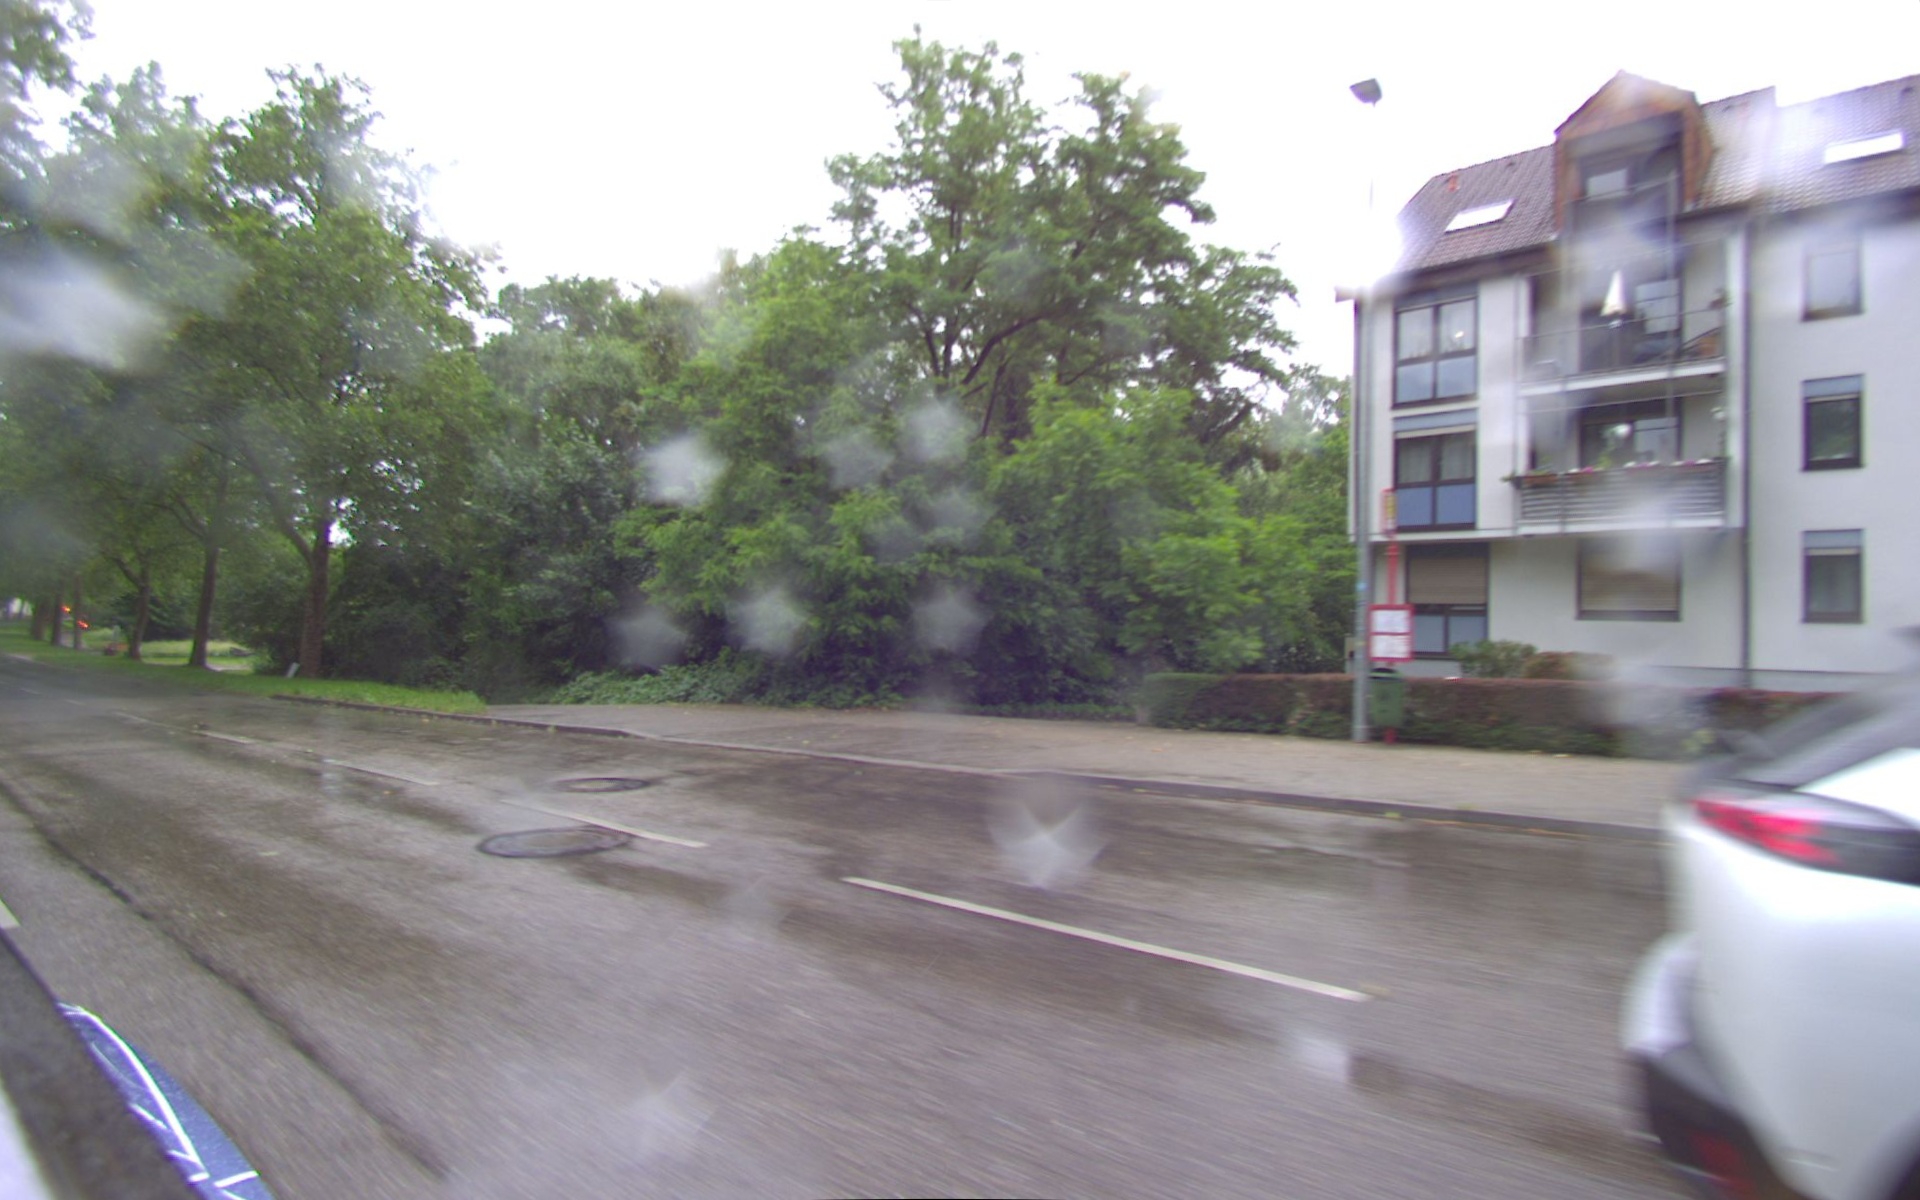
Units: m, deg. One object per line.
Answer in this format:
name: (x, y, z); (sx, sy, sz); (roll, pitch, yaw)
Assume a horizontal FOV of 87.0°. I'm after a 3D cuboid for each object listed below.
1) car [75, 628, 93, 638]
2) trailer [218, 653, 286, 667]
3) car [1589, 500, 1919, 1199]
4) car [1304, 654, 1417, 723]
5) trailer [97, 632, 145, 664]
car: (-165.962, 6.237, 191.806); (1.868, 1.695, 4.011); (3, -3, -32)
trailer: (-59.286, 5.021, 84.746); (2.382, 1.040, 4.269); (0, -3, 43)
car: (3.273, 0.624, 0.923); (4.365, 1.547, 1.734); (-2, -4, 41)
car: (10.402, 2.317, 26.153); (1.723, 1.497, 3.515); (0, -7, 39)
trailer: (-77.029, 4.392, 92.907); (2.765, 2.684, 6.657); (4, -3, -44)
